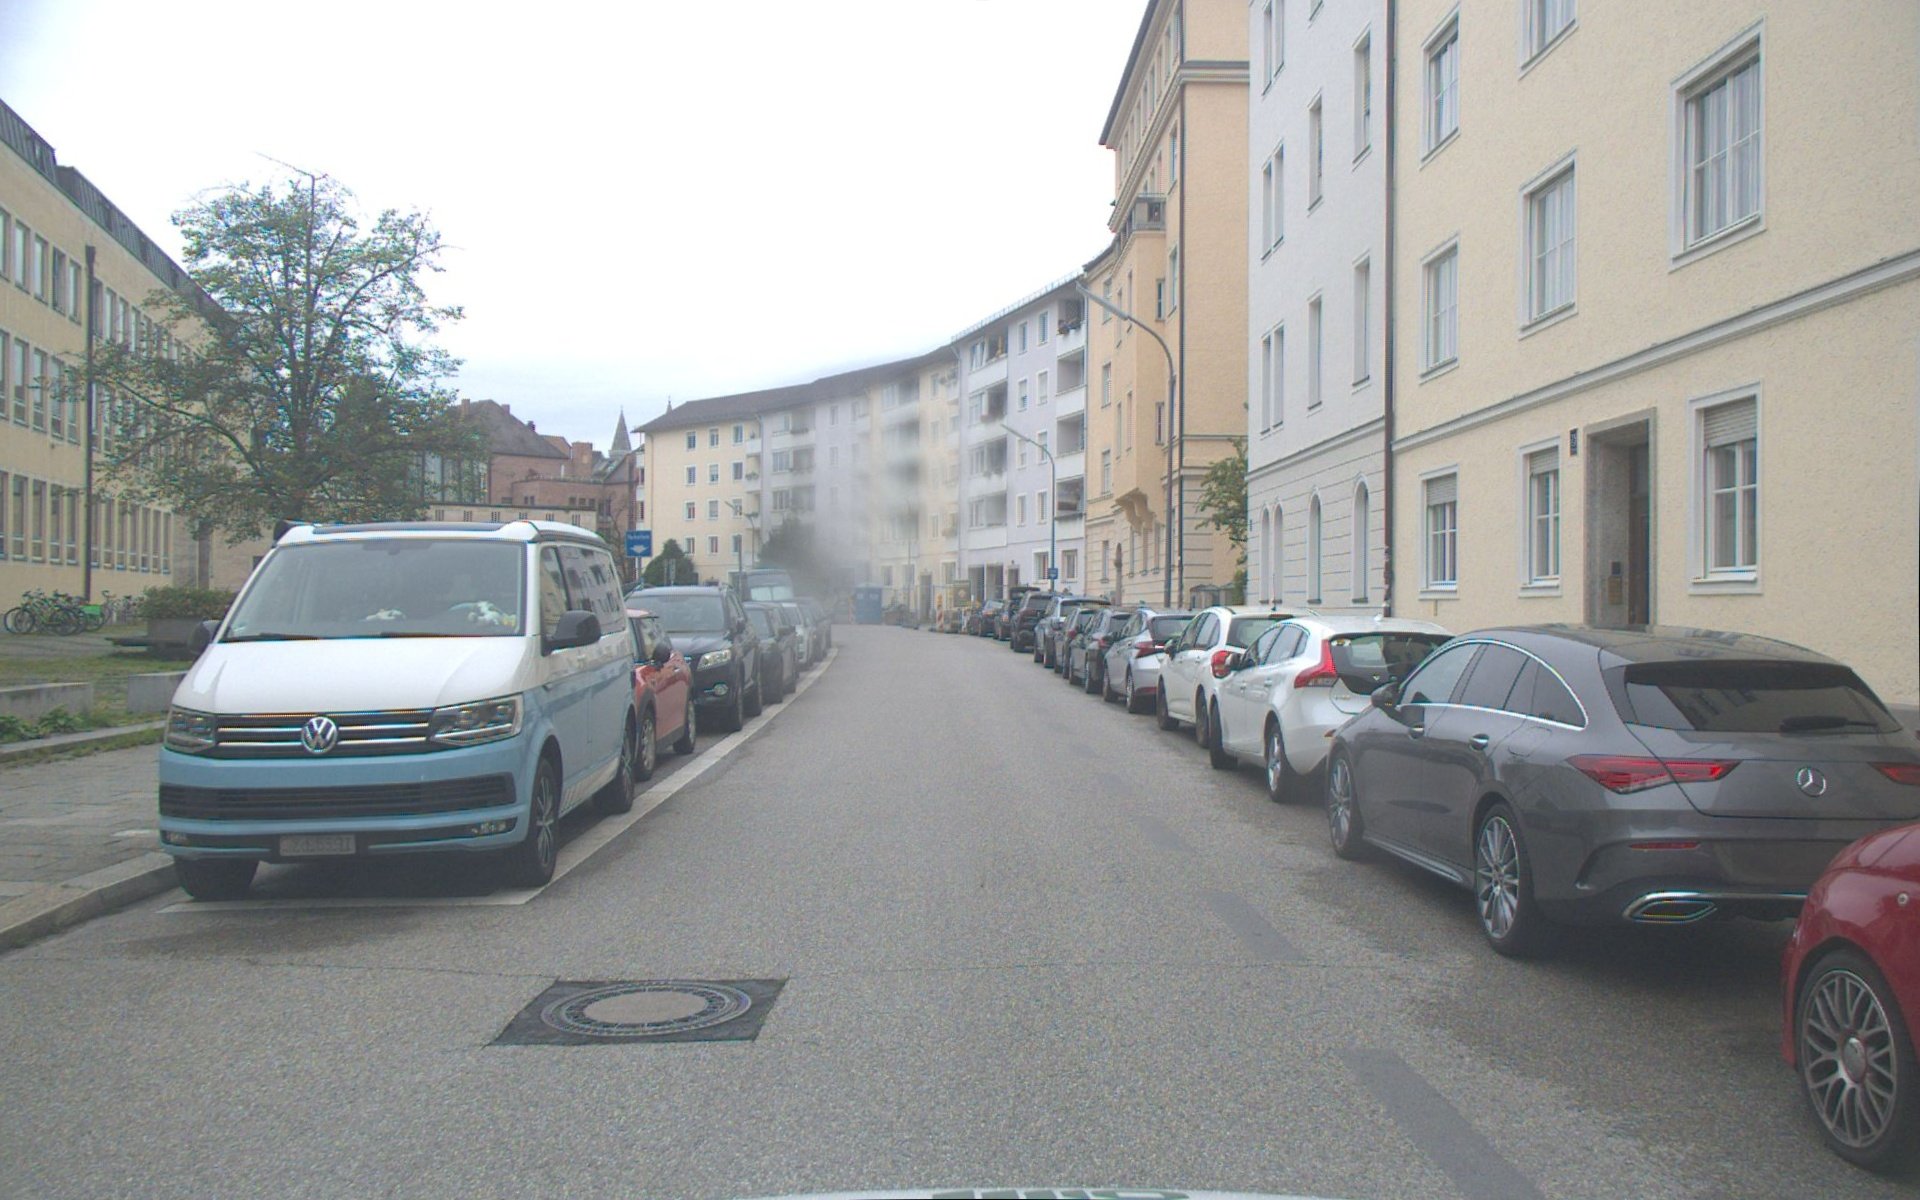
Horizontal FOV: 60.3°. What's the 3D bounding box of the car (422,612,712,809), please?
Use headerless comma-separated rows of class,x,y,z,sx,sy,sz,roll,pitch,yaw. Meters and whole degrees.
car,-3.402,0.891,15.008,1.768,1.431,3.708,-2,1,-1

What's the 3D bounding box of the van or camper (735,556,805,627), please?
van or camper,-7.694,-0.364,66.499,2.256,2.626,6.069,2,0,-11

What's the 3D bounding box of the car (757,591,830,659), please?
car,-4.156,0.584,41.702,1.598,1.520,4.273,-2,1,-3

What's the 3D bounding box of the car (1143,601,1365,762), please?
car,3.267,0.846,19.097,1.618,1.570,3.991,1,1,-3

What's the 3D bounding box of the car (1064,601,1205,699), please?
car,2.988,0.809,29.190,1.838,1.475,4.676,2,1,-2

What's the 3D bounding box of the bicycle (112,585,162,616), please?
bicycle,-26.926,0.032,54.153,1.385,0.961,0.412,2,0,-18

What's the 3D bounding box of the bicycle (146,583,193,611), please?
bicycle,-28.449,-0.101,59.564,1.448,0.961,0.412,2,0,-18

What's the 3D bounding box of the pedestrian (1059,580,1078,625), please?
pedestrian,4.208,0.092,64.260,0.605,1.720,0.919,-3,0,-1

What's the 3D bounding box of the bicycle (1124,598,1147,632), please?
bicycle,5.719,0.485,54.028,0.491,1.067,2.138,-2,1,0

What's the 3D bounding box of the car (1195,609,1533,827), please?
car,3.240,0.873,14.155,1.690,1.454,4.292,2,1,-2

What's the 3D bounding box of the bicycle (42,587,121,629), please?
bicycle,-24.734,0.227,46.597,1.816,1.115,0.699,2,0,-18

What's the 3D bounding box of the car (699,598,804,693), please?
car,-3.772,0.776,30.470,1.598,1.520,4.098,-2,1,-3

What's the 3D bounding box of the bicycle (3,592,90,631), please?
bicycle,-23.854,0.295,43.194,1.918,0.961,0.413,2,0,-14

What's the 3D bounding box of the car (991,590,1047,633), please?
car,2.086,0.384,59.663,1.599,1.442,3.676,1,1,-4

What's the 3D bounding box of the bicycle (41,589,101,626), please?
bicycle,-24.261,0.203,45.172,1.389,0.961,0.411,2,0,-26

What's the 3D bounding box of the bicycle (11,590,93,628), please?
bicycle,-24.066,0.241,43.855,1.830,0.961,0.412,2,0,-20

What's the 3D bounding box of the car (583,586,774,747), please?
car,-3.330,0.712,20.278,1.680,1.719,4.140,-1,1,-1

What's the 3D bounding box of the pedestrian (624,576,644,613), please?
pedestrian,-16.906,-0.275,85.735,0.833,1.899,0.707,1,0,-30

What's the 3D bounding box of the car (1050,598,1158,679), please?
car,2.924,0.751,34.345,1.790,1.475,4.083,2,1,-1

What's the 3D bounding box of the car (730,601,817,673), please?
car,-4.045,0.766,36.371,1.706,1.447,4.291,0,1,-4

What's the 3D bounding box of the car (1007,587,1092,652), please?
car,2.617,0.529,49.465,2.126,1.769,5.023,2,1,-1

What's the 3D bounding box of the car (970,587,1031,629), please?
car,1.567,0.295,65.918,1.871,1.503,4.941,1,1,-5

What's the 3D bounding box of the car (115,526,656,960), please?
car,-3.109,0.633,10.147,1.877,1.994,4.958,1,1,-4

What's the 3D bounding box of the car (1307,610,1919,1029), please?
car,3.220,0.850,8.546,1.737,1.454,4.614,2,1,-2

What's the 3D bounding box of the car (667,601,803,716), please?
car,-3.373,0.833,25.392,1.598,1.520,3.819,-2,1,-1

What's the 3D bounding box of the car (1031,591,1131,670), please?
car,2.807,0.670,39.205,1.809,1.692,4.496,2,1,-3

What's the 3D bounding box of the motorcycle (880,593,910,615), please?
motorcycle,-3.873,0.224,98.157,0.920,1.242,2.487,1,0,-25

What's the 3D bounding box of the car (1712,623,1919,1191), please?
car,3.367,0.854,3.606,1.621,1.454,3.755,2,1,-2

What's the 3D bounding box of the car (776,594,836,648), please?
car,-4.802,0.617,51.480,1.740,1.491,4.461,-2,1,-6

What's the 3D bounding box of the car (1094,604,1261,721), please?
car,3.090,0.851,24.288,1.690,1.475,4.185,2,0,-3
